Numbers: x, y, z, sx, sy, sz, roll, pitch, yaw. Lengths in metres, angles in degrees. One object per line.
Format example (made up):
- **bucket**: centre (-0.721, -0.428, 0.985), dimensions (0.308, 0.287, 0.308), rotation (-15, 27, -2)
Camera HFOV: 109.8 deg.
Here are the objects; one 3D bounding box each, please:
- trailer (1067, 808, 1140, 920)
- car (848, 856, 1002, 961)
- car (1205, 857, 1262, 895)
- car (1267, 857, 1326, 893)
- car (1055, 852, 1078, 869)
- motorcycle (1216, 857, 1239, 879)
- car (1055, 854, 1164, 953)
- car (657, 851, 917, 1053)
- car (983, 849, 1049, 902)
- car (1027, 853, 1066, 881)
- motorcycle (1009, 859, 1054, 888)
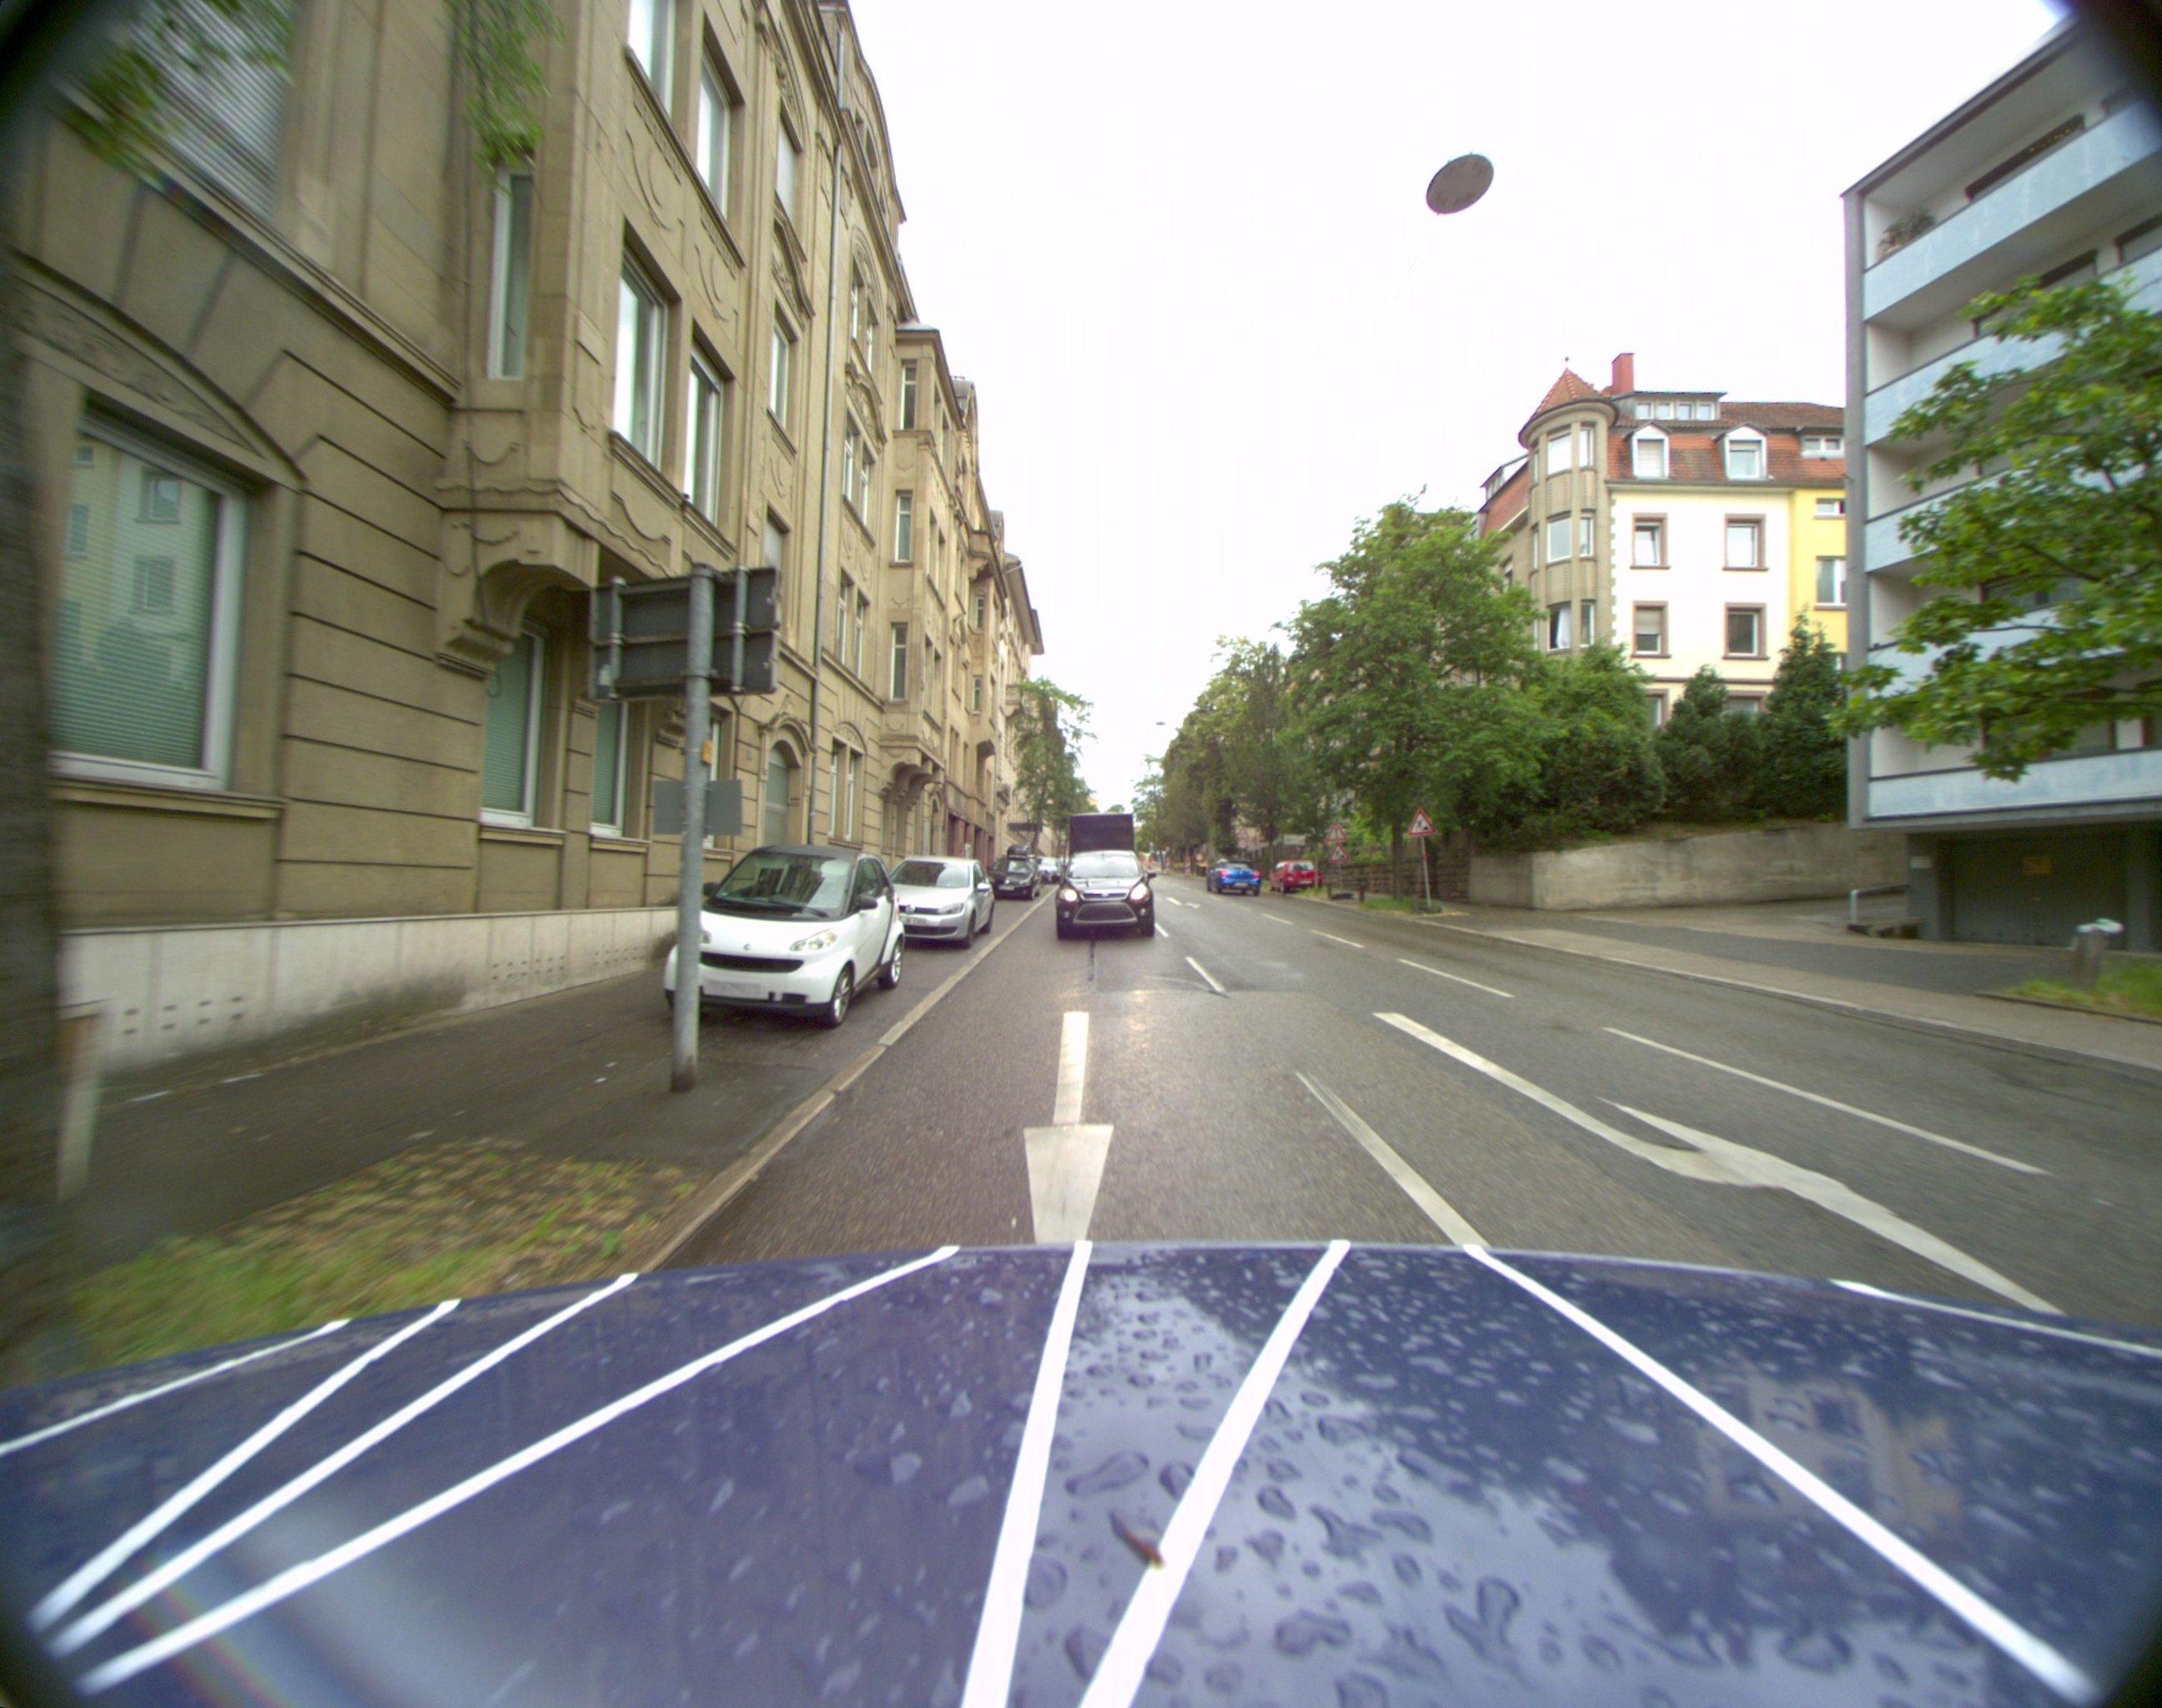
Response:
- **trailer**: centre (0.590, 0.227, 21.219), dimensions (1.783, 2.744, 4.816), rotation (-1, 1, 1)
- **car**: centre (-2.583, 0.842, 13.588), dimensions (1.764, 1.443, 4.000), rotation (4, 0, 1)
- **car**: centre (6.364, 0.886, 32.067), dimensions (1.719, 1.442, 3.742), rotation (1, 0, 1)
- **car**: centre (9.581, 0.902, 34.084), dimensions (1.617, 1.442, 4.064), rotation (-1, 0, 2)
- **car**: centre (-1.379, 0.638, 74.592), dimensions (1.910, 1.503, 4.318), rotation (3, 0, 2)
- **motorcycle**: centre (9.656, 0.909, 50.212), dimensions (0.802, 1.406, 3.061), rotation (-2, 0, -1)
- **car**: centre (0.563, 0.843, 15.152), dimensions (1.823, 1.662, 4.522), rotation (-1, 0, 2)
- **car**: centre (-2.693, 0.787, 7.620), dimensions (1.302, 1.534, 2.976), rotation (4, 0, 1)
- **car**: centre (-2.284, 0.727, 27.634), dimensions (1.764, 1.642, 4.099), rotation (4, 0, 2)
- **car**: centre (-1.913, 0.684, 43.377), dimensions (1.794, 1.444, 4.039), rotation (3, 0, 2)
- **motorcycle**: centre (-2.257, 0.900, 35.011), dimensions (0.523, 1.236, 2.282), rotation (3, -1, 41)
